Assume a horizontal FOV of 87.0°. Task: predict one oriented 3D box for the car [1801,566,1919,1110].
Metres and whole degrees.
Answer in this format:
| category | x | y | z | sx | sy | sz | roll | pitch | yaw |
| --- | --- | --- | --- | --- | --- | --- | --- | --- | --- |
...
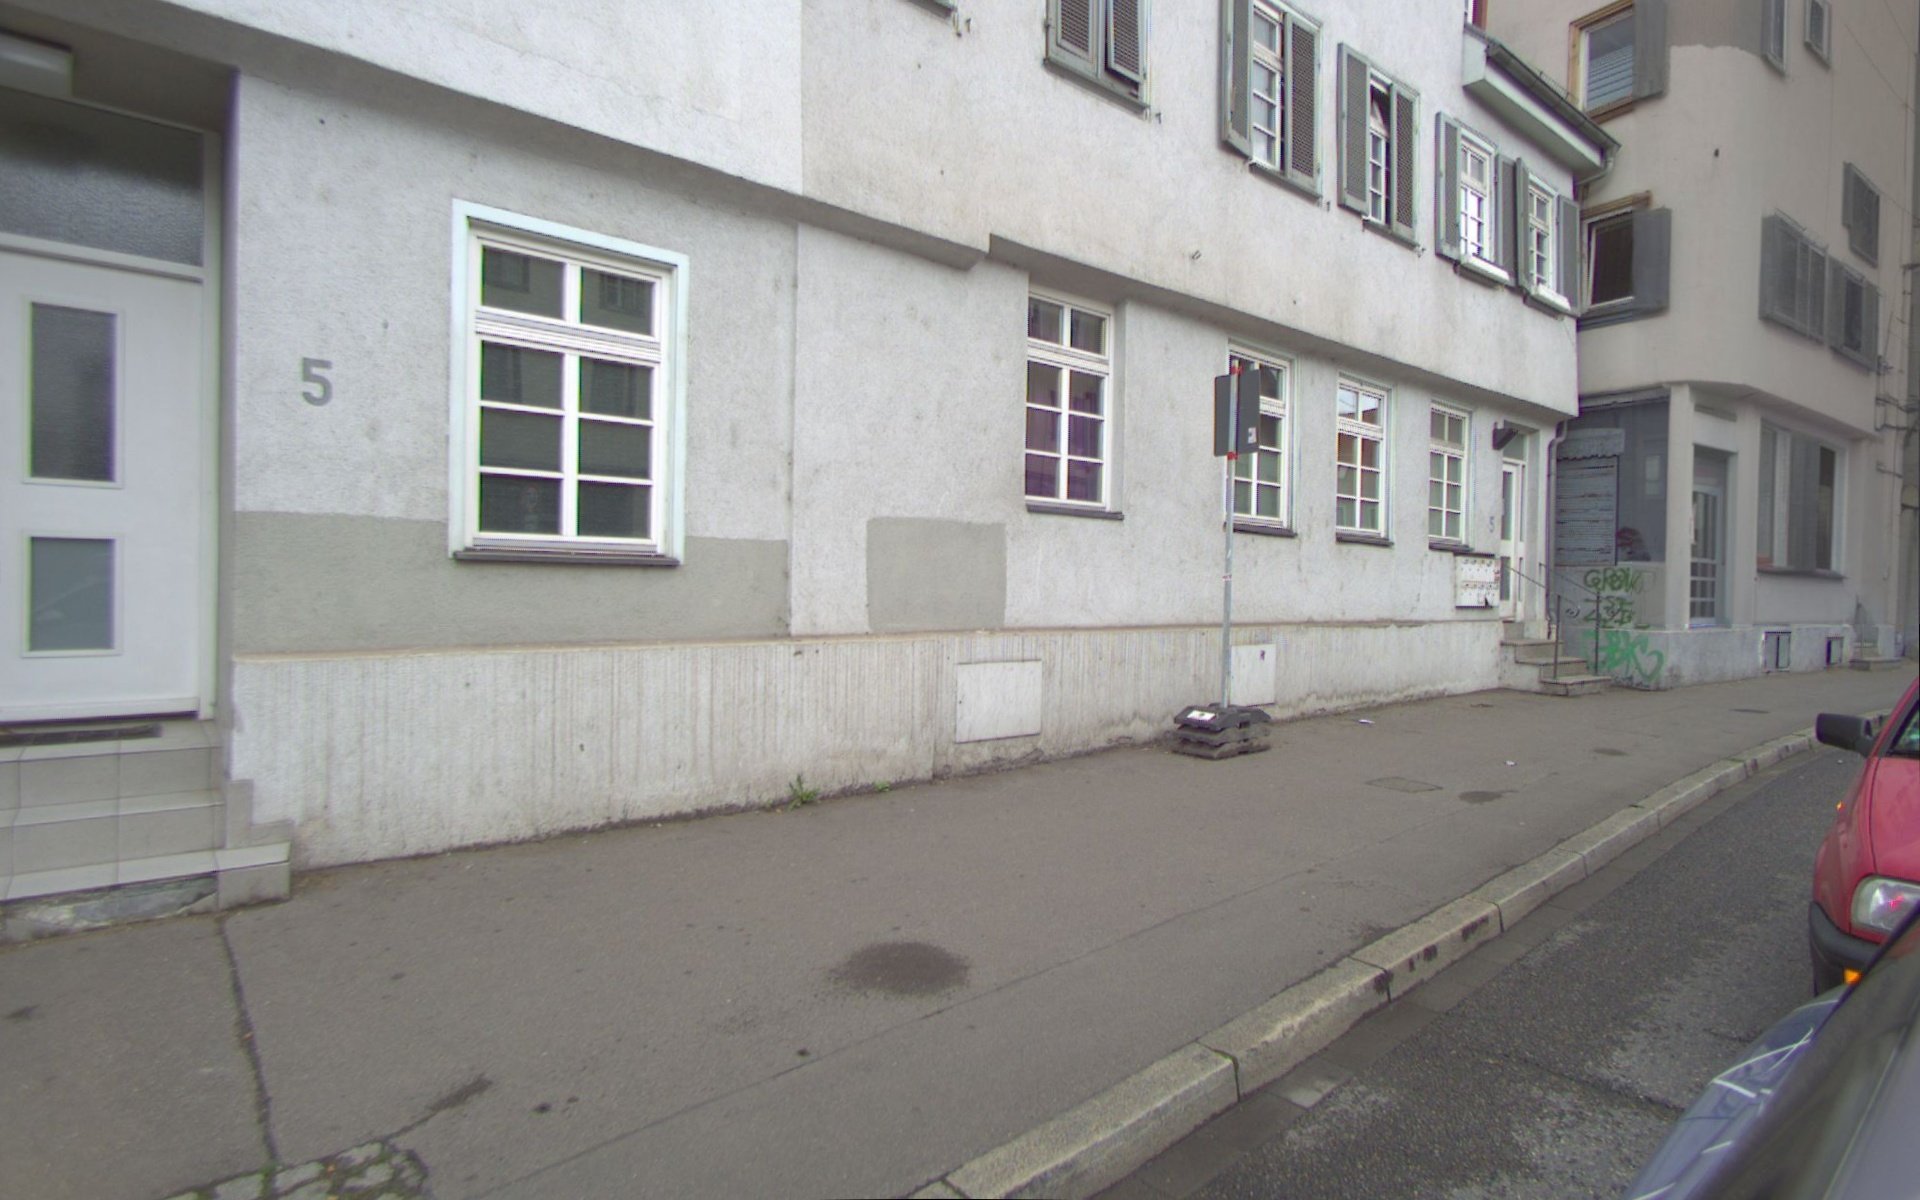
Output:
| category | x | y | z | sx | sy | sz | roll | pitch | yaw |
| --- | --- | --- | --- | --- | --- | --- | --- | --- | --- |
| car | 4.428 | 0.623 | 3.526 | 3.932 | 1.443 | 1.790 | -1 | 1 | -42 |
